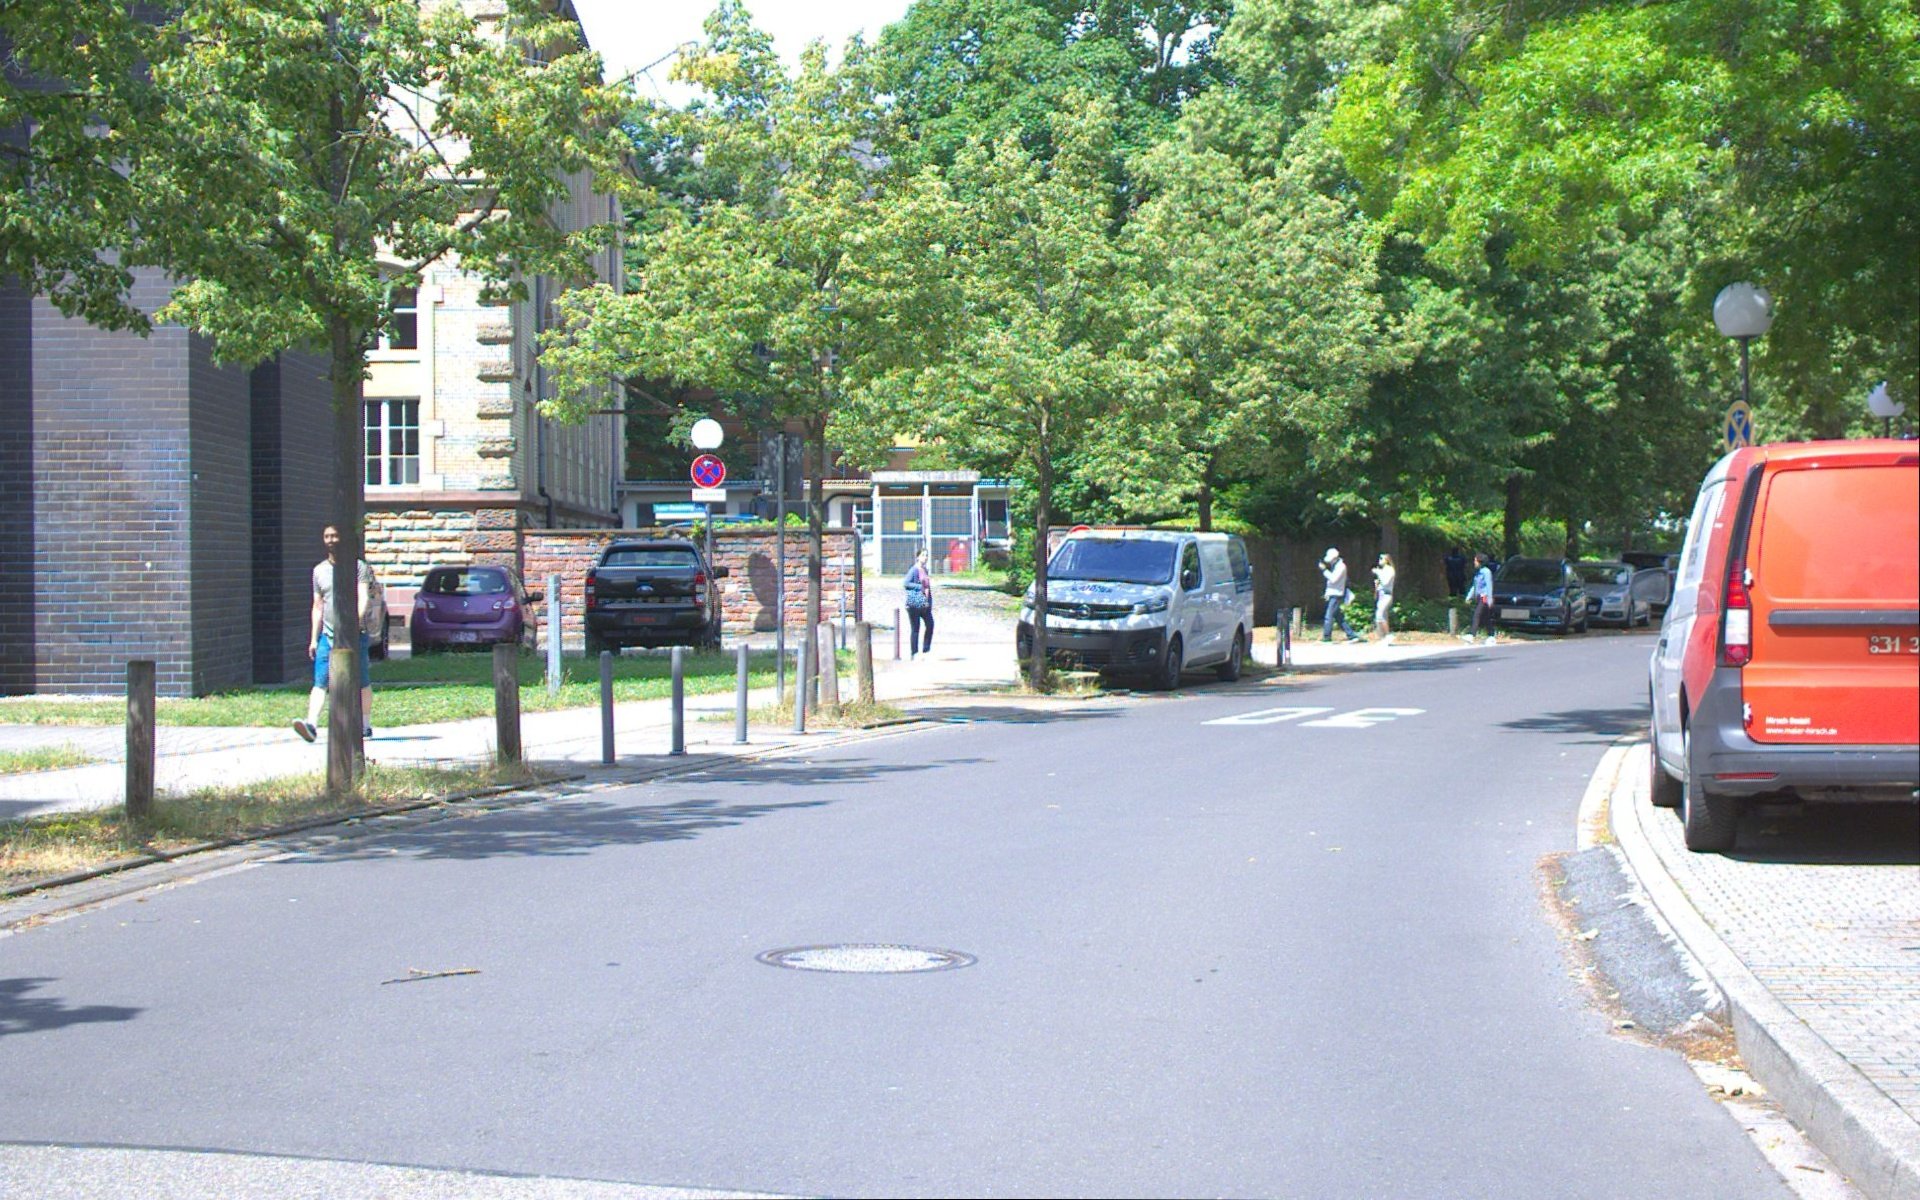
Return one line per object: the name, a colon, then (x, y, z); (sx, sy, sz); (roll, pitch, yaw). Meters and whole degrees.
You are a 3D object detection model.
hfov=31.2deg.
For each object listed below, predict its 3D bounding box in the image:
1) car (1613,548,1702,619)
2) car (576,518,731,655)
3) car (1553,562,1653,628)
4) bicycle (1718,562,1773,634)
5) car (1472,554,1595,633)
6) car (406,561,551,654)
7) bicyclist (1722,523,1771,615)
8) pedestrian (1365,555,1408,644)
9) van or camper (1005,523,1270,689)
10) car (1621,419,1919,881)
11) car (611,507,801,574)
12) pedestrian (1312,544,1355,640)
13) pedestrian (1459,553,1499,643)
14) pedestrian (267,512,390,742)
car: (16.926, -0.419, 83.337); (1.617, 1.673, 3.996); (0, 1, 19)
car: (-4.500, -0.217, 50.964); (2.174, 1.919, 5.187); (0, 1, -4)
car: (14.078, -0.127, 75.141); (1.617, 1.383, 3.996); (0, 1, 19)
bicycle: (11.073, -0.037, 48.437); (0.614, 0.997, 1.422); (0, 1, 19)
car: (11.373, -0.149, 68.004); (1.761, 1.516, 4.108); (0, 1, 19)
car: (-7.078, 0.083, 50.851); (1.817, 1.319, 3.768); (0, 1, -3)
bicyclist: (11.091, -0.438, 48.493); (0.610, 1.291, 0.610); (0, 1, 19)
pedestrian: (7.299, -0.010, 58.819); (0.583, 1.522, 0.494); (0, 1, -13)
van or camper: (2.305, 0.027, 42.927); (1.955, 1.916, 5.415); (1, 1, 18)
car: (4.249, 0.167, 16.431); (1.849, 1.885, 4.889); (-1, 1, 8)
car: (-5.891, -1.382, 79.794); (4.087, 1.512, 1.757); (0, 1, -19)
pedestrian: (6.518, -0.139, 59.997); (0.626, 1.657, 0.603); (0, 1, -5)
pedestrian: (9.153, -0.036, 60.625); (0.494, 1.580, 0.494); (0, 1, -33)
pedestrian: (-4.920, 0.200, 26.815); (0.584, 1.758, 0.910); (0, 1, 16)
